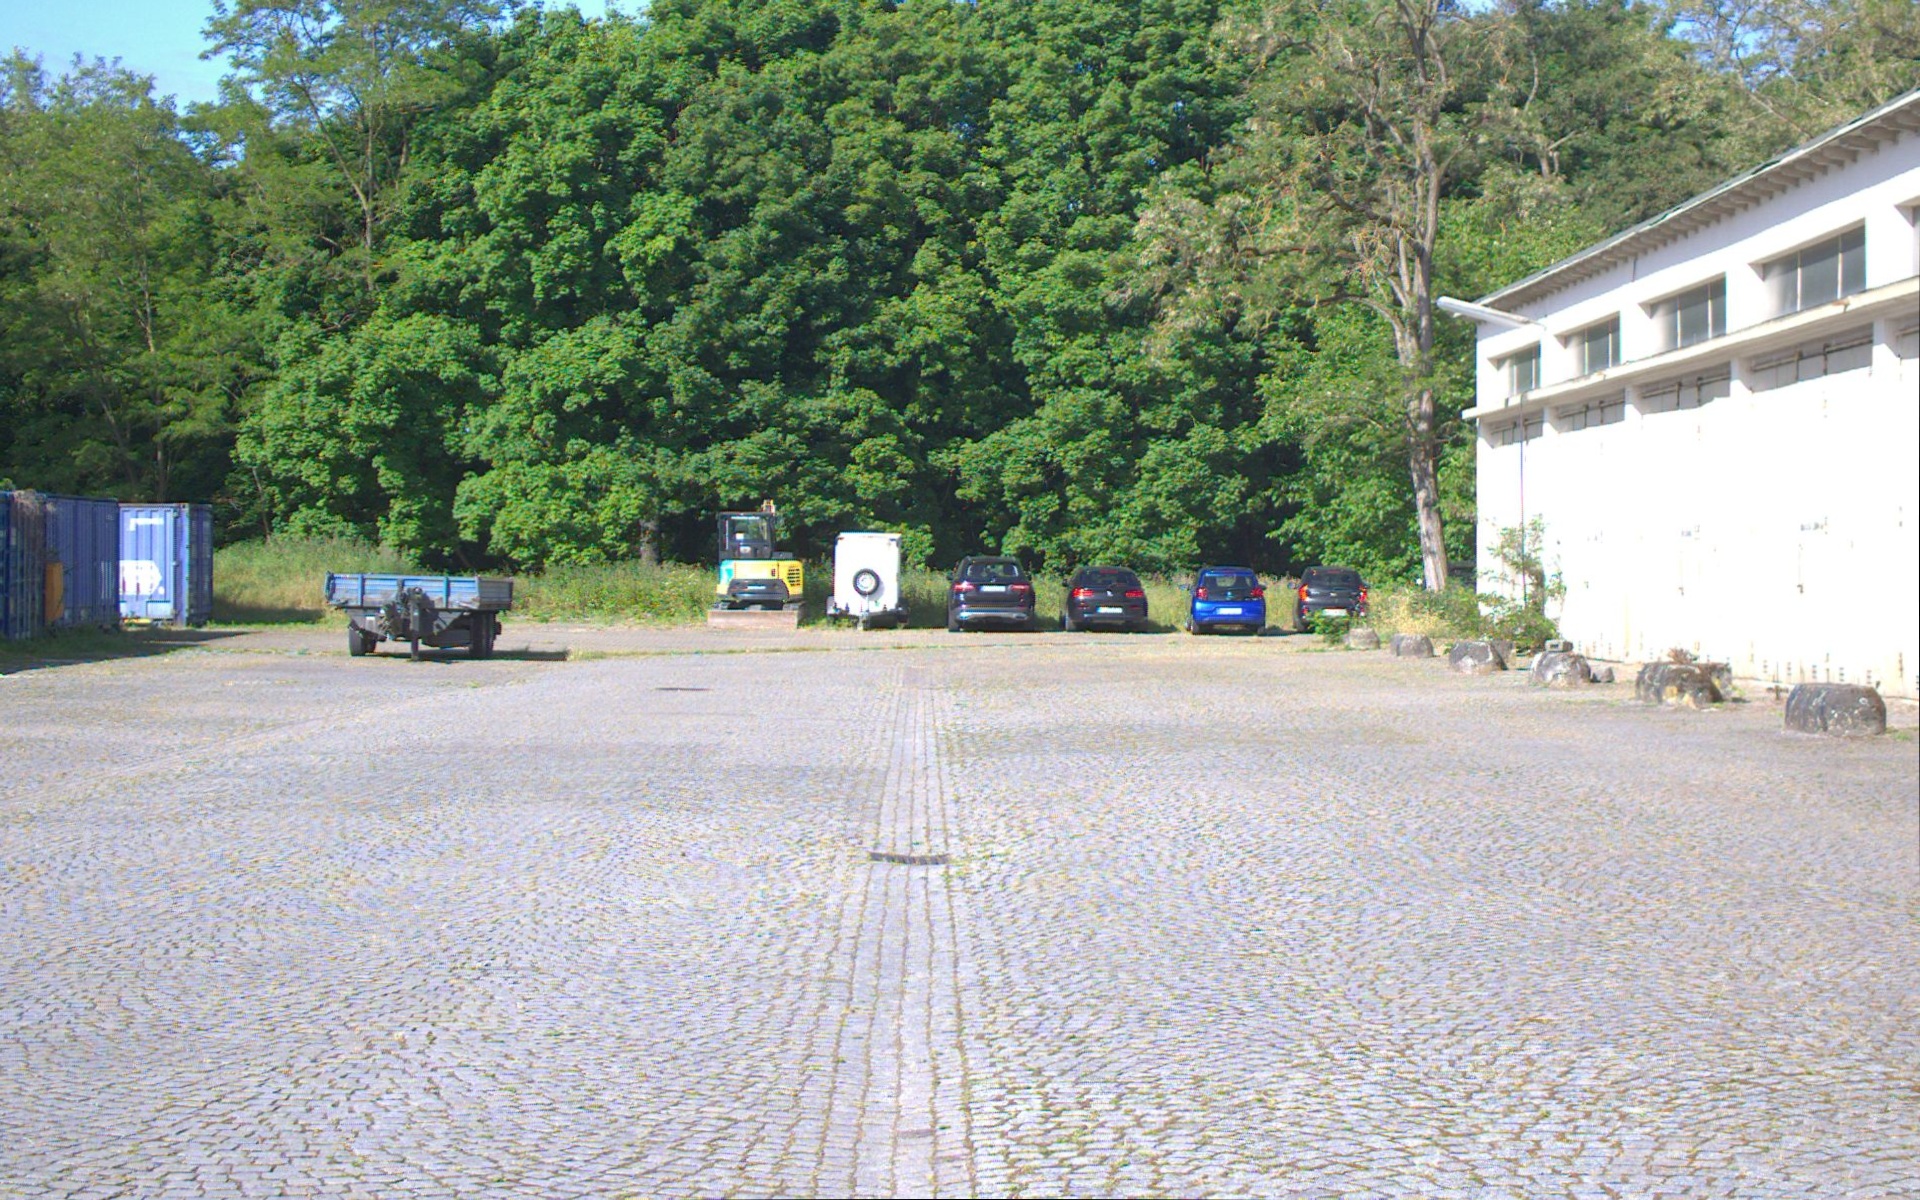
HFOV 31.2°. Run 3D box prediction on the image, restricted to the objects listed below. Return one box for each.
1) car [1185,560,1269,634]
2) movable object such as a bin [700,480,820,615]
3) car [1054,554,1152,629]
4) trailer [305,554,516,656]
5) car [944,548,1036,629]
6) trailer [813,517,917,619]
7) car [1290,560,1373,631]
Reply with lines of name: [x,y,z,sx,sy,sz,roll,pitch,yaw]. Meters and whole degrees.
car: [5.872,-0.090,75.523,1.744,1.431,4.182,2,2,4]
movable object such as a bin: [-4.491,-1.232,78.130,2.306,2.887,5.751,2,2,0]
car: [3.105,-0.204,75.571,1.863,1.465,4.296,2,2,-1]
trailer: [-9.092,0.033,57.438,2.705,1.460,6.248,2,1,-2]
car: [0.619,-0.273,75.192,1.863,1.584,4.296,2,2,-1]
trailer: [-2.108,-0.764,77.552,2.193,2.087,5.752,2,2,-1]
car: [8.310,-0.125,76.942,1.744,1.431,4.182,2,2,6]
